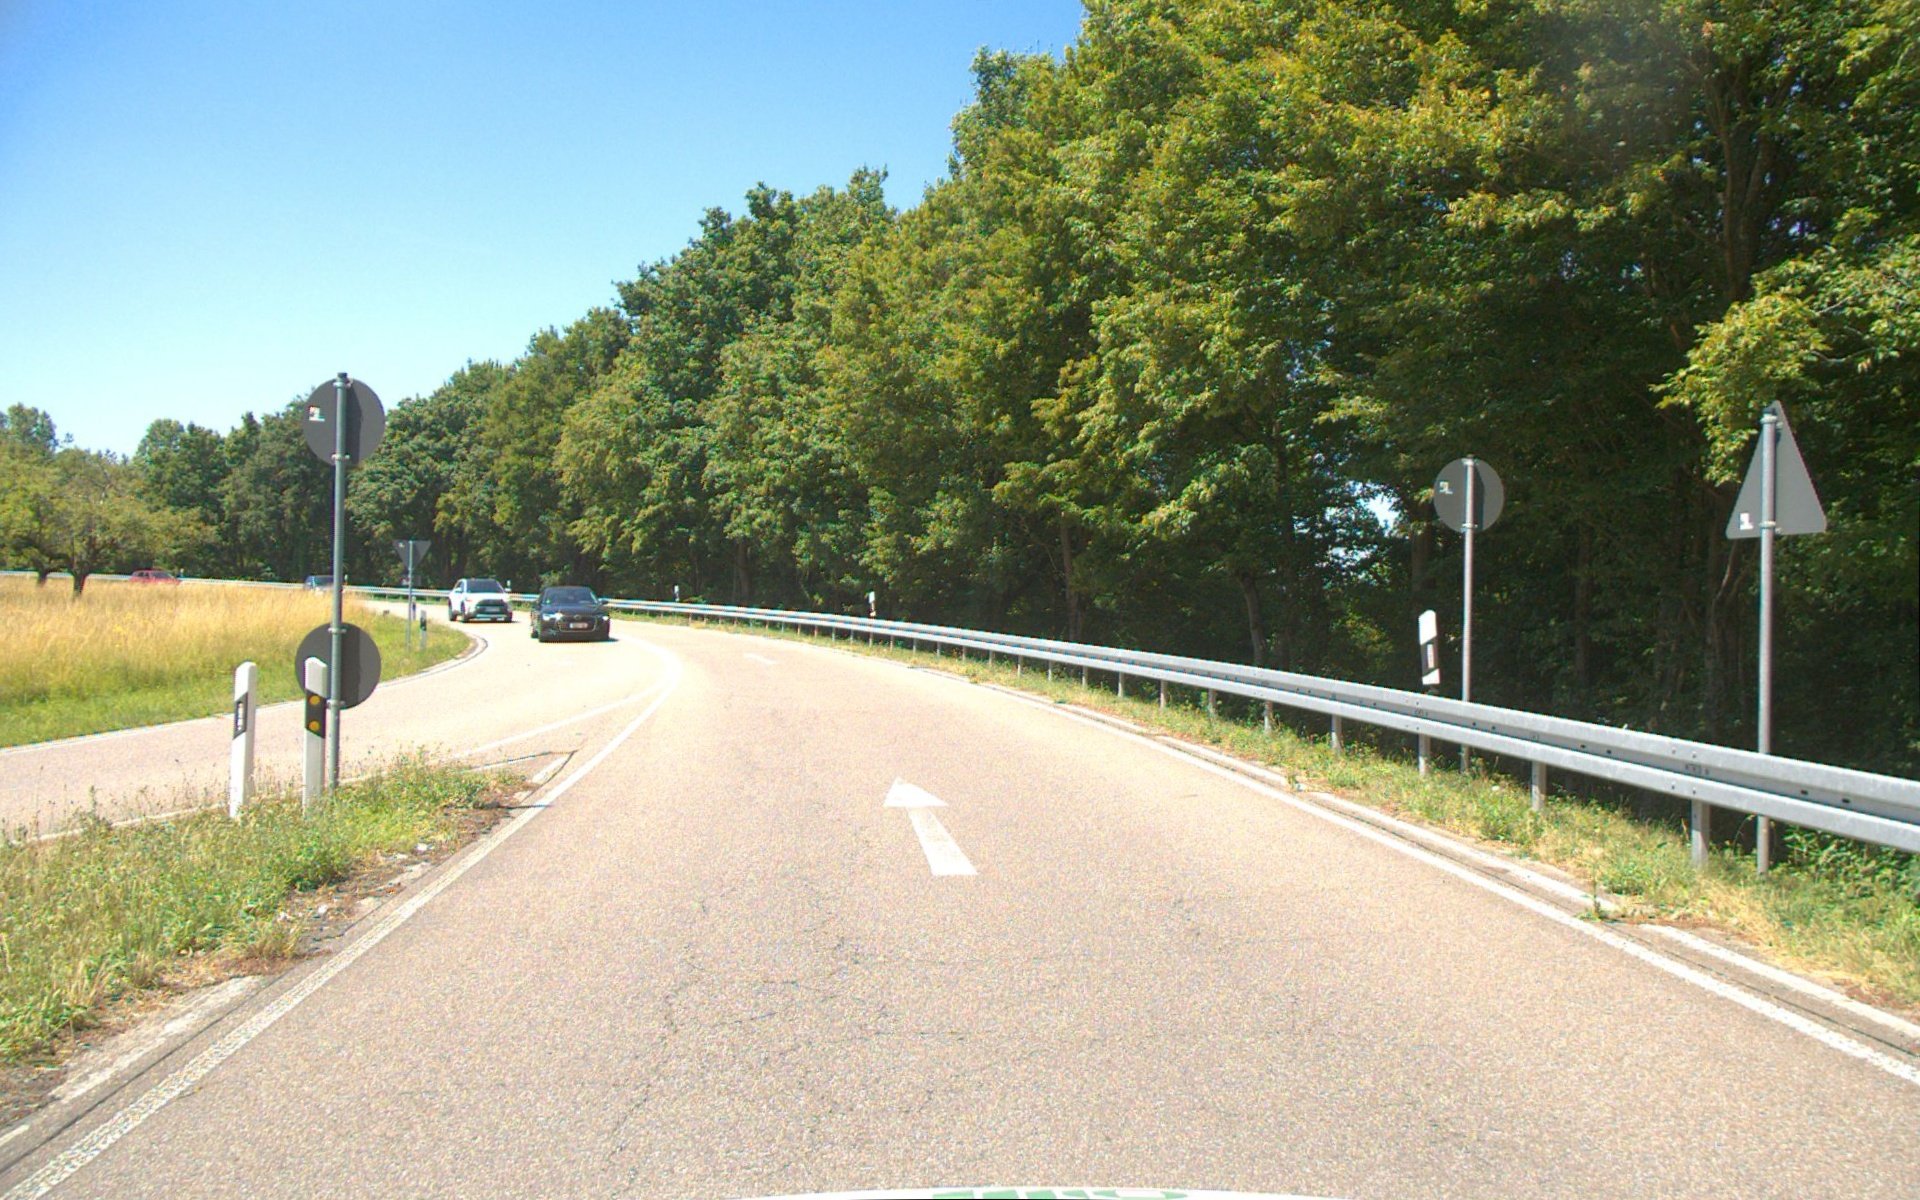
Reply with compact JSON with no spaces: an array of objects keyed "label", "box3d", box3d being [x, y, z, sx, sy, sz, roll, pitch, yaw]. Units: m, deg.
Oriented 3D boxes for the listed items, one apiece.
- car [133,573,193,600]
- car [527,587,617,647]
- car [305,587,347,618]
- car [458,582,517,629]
[{"label":"car","box3d":[-50.072,-0.848,103.860,4.320,1.483,1.818,-3,0,42]},{"label":"car","box3d":[-10.767,0.459,45.687,1.777,1.533,4.628,-1,0,-21]},{"label":"car","box3d":[-32.662,0.138,85.185,1.713,1.533,4.039,1,-1,-26]},{"label":"car","box3d":[-17.782,0.207,62.130,1.796,1.618,4.192,-3,0,-20]}]
